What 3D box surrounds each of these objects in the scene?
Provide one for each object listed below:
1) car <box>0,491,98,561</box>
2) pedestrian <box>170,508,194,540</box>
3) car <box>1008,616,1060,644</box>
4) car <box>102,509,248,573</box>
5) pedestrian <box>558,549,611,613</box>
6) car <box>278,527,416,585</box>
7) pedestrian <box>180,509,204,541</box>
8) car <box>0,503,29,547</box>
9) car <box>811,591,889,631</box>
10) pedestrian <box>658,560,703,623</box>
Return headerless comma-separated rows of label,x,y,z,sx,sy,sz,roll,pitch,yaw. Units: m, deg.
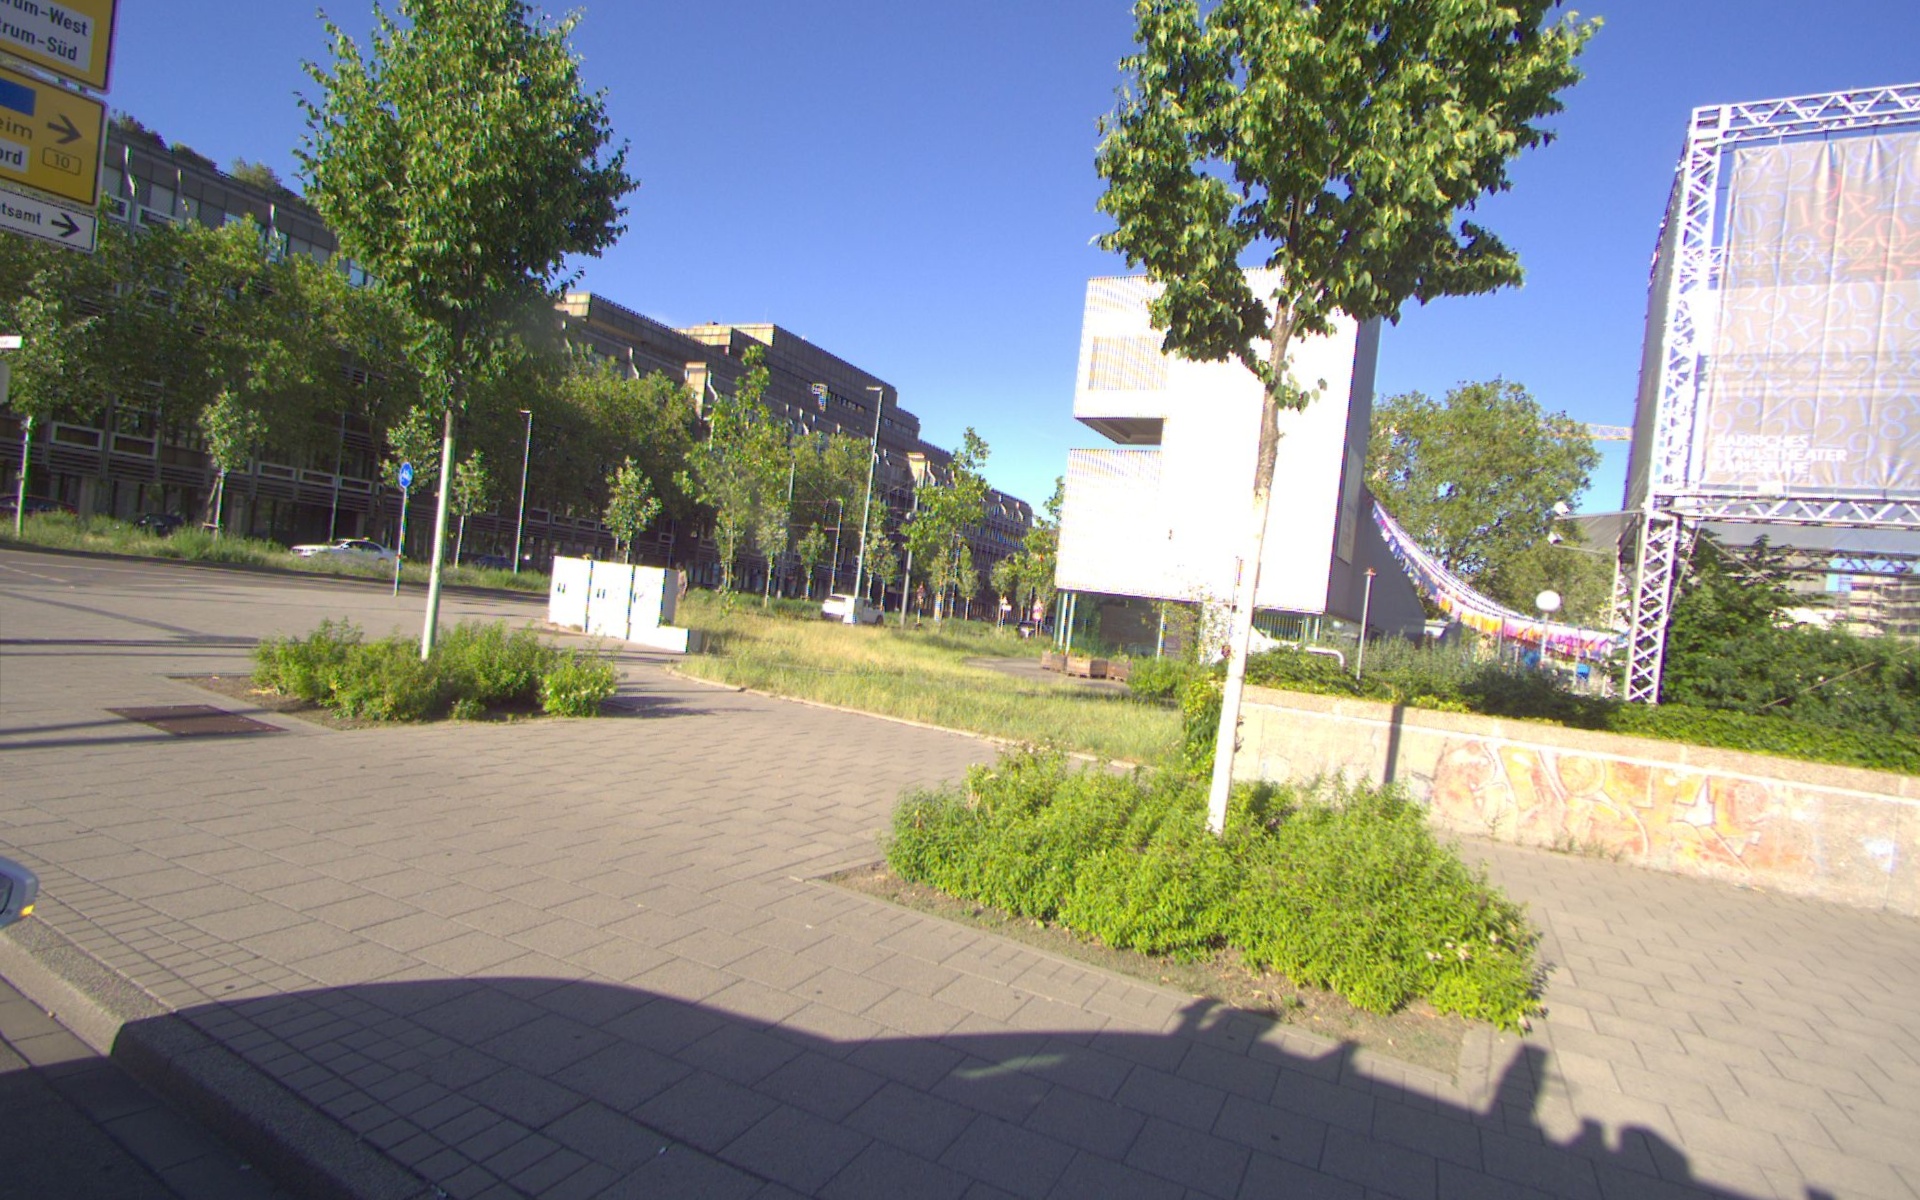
car,-33.320,-2.708,35.376,1.966,2.036,3.997,6,-2,29
pedestrian,-43.480,-4.254,56.214,0.728,1.678,0.665,7,1,25
car,5.695,2.322,76.863,1.965,1.621,4.948,8,0,27
car,-34.118,-2.526,43.883,1.965,2.036,4.458,7,-2,27
pedestrian,-10.436,-0.525,27.988,0.925,1.650,0.803,7,1,18
car,-30.682,-2.178,50.586,2.062,2.036,5.455,6,-2,29
pedestrian,-42.721,-4.163,55.981,0.728,1.678,0.665,7,1,25
car,-37.250,-3.041,36.946,1.836,1.525,3.997,7,-2,29
car,-5.689,0.594,52.686,1.964,1.681,4.403,8,1,23
pedestrian,-8.436,-0.251,30.390,0.925,1.750,0.695,7,1,18
